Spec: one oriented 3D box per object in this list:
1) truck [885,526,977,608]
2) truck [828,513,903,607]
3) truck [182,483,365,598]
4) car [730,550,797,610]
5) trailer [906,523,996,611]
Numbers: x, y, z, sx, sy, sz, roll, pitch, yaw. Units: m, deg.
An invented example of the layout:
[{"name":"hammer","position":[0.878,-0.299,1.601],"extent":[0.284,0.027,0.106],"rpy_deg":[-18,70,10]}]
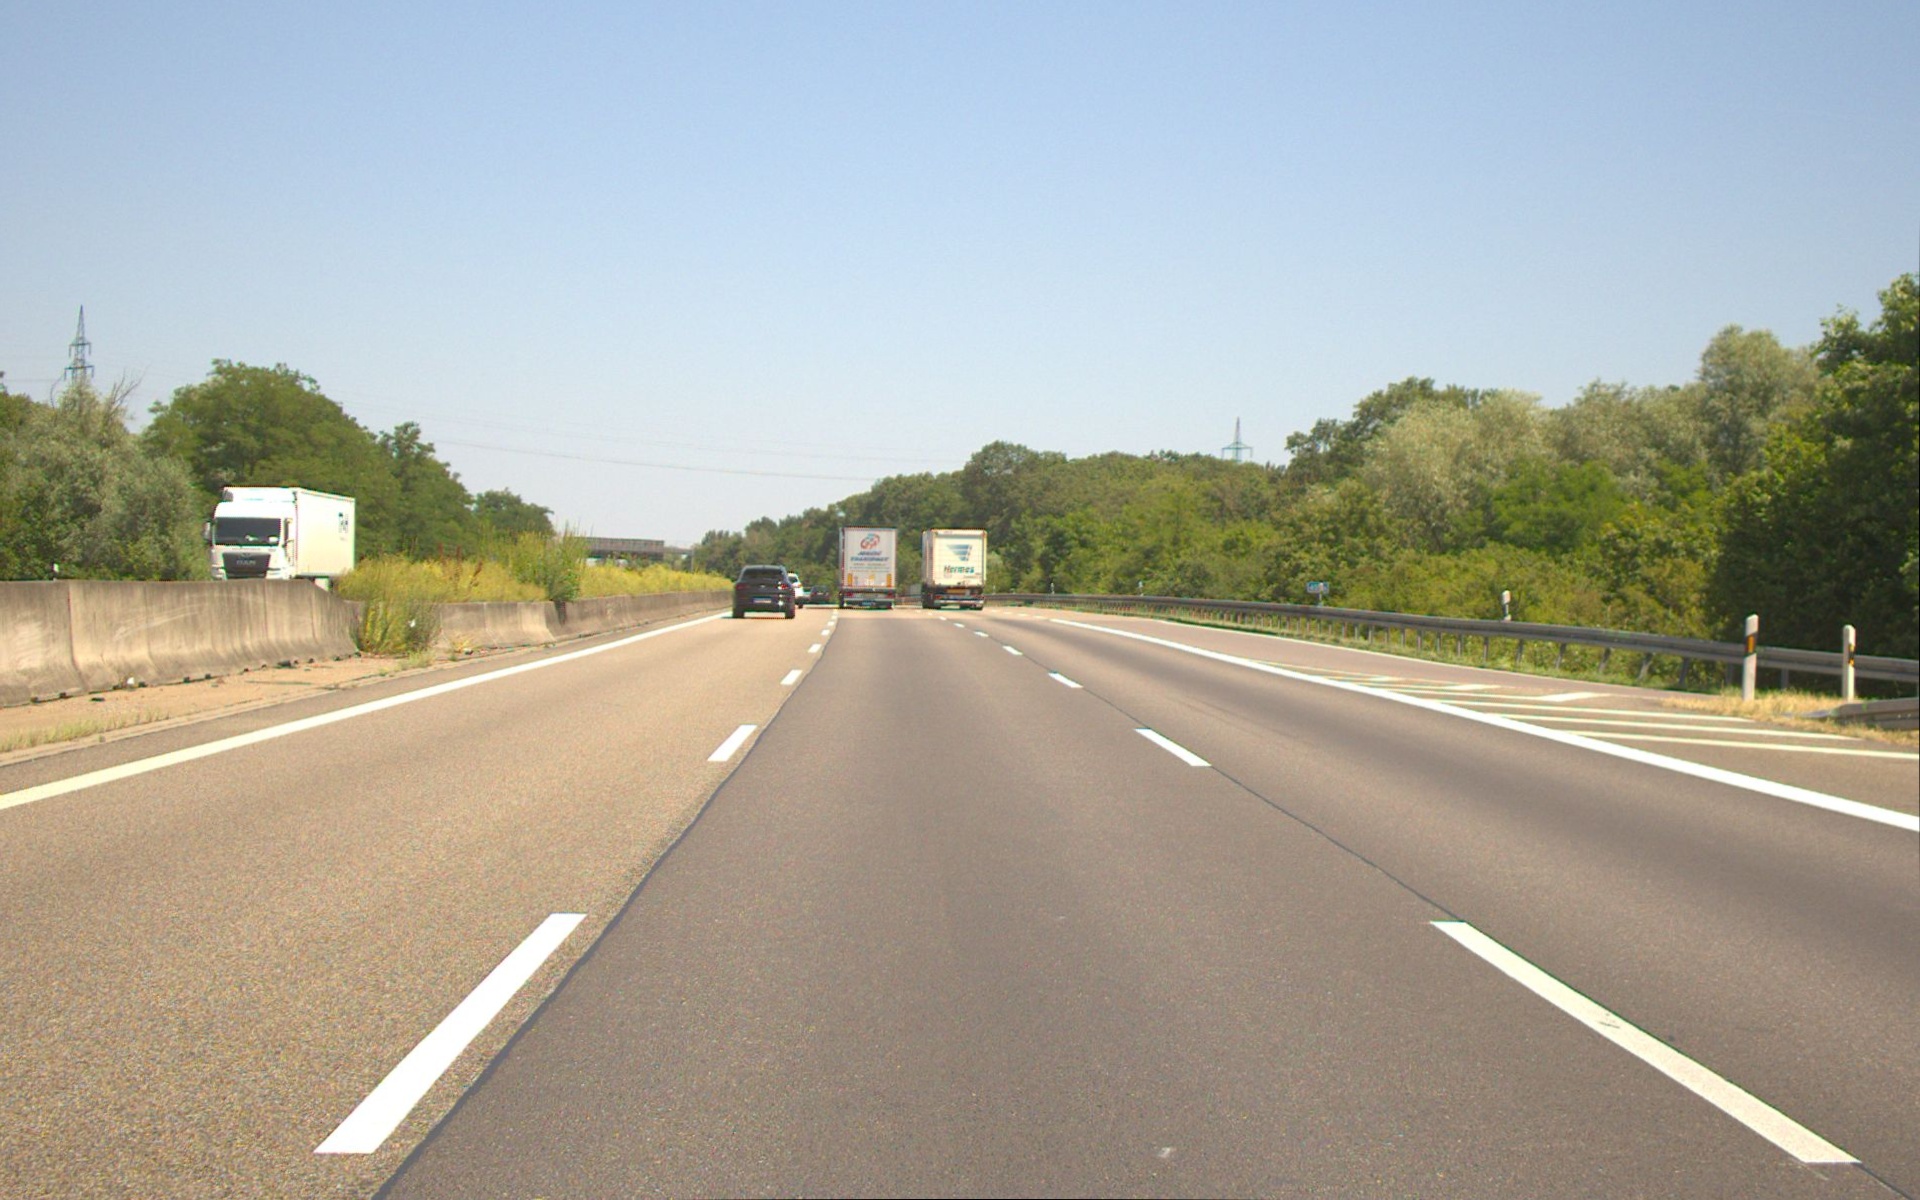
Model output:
[{"name":"truck","position":[-1.554,-1.711,176.270],"extent":[3.325,4.039,10.956],"rpy_deg":[1,1,-7]},{"name":"truck","position":[-4.526,-1.909,163.715],"extent":[3.229,4.187,8.467],"rpy_deg":[3,1,-2]},{"name":"truck","position":[-24.206,-2.052,122.404],"extent":[3.598,3.722,17.487],"rpy_deg":[1,0,-2]},{"name":"car","position":[-6.402,-0.672,112.478],"extent":[1.993,1.868,4.000],"rpy_deg":[1,1,-1]},{"name":"trailer","position":[-0.512,-1.645,168.806],"extent":[3.367,4.128,9.093],"rpy_deg":[1,1,-6]}]
